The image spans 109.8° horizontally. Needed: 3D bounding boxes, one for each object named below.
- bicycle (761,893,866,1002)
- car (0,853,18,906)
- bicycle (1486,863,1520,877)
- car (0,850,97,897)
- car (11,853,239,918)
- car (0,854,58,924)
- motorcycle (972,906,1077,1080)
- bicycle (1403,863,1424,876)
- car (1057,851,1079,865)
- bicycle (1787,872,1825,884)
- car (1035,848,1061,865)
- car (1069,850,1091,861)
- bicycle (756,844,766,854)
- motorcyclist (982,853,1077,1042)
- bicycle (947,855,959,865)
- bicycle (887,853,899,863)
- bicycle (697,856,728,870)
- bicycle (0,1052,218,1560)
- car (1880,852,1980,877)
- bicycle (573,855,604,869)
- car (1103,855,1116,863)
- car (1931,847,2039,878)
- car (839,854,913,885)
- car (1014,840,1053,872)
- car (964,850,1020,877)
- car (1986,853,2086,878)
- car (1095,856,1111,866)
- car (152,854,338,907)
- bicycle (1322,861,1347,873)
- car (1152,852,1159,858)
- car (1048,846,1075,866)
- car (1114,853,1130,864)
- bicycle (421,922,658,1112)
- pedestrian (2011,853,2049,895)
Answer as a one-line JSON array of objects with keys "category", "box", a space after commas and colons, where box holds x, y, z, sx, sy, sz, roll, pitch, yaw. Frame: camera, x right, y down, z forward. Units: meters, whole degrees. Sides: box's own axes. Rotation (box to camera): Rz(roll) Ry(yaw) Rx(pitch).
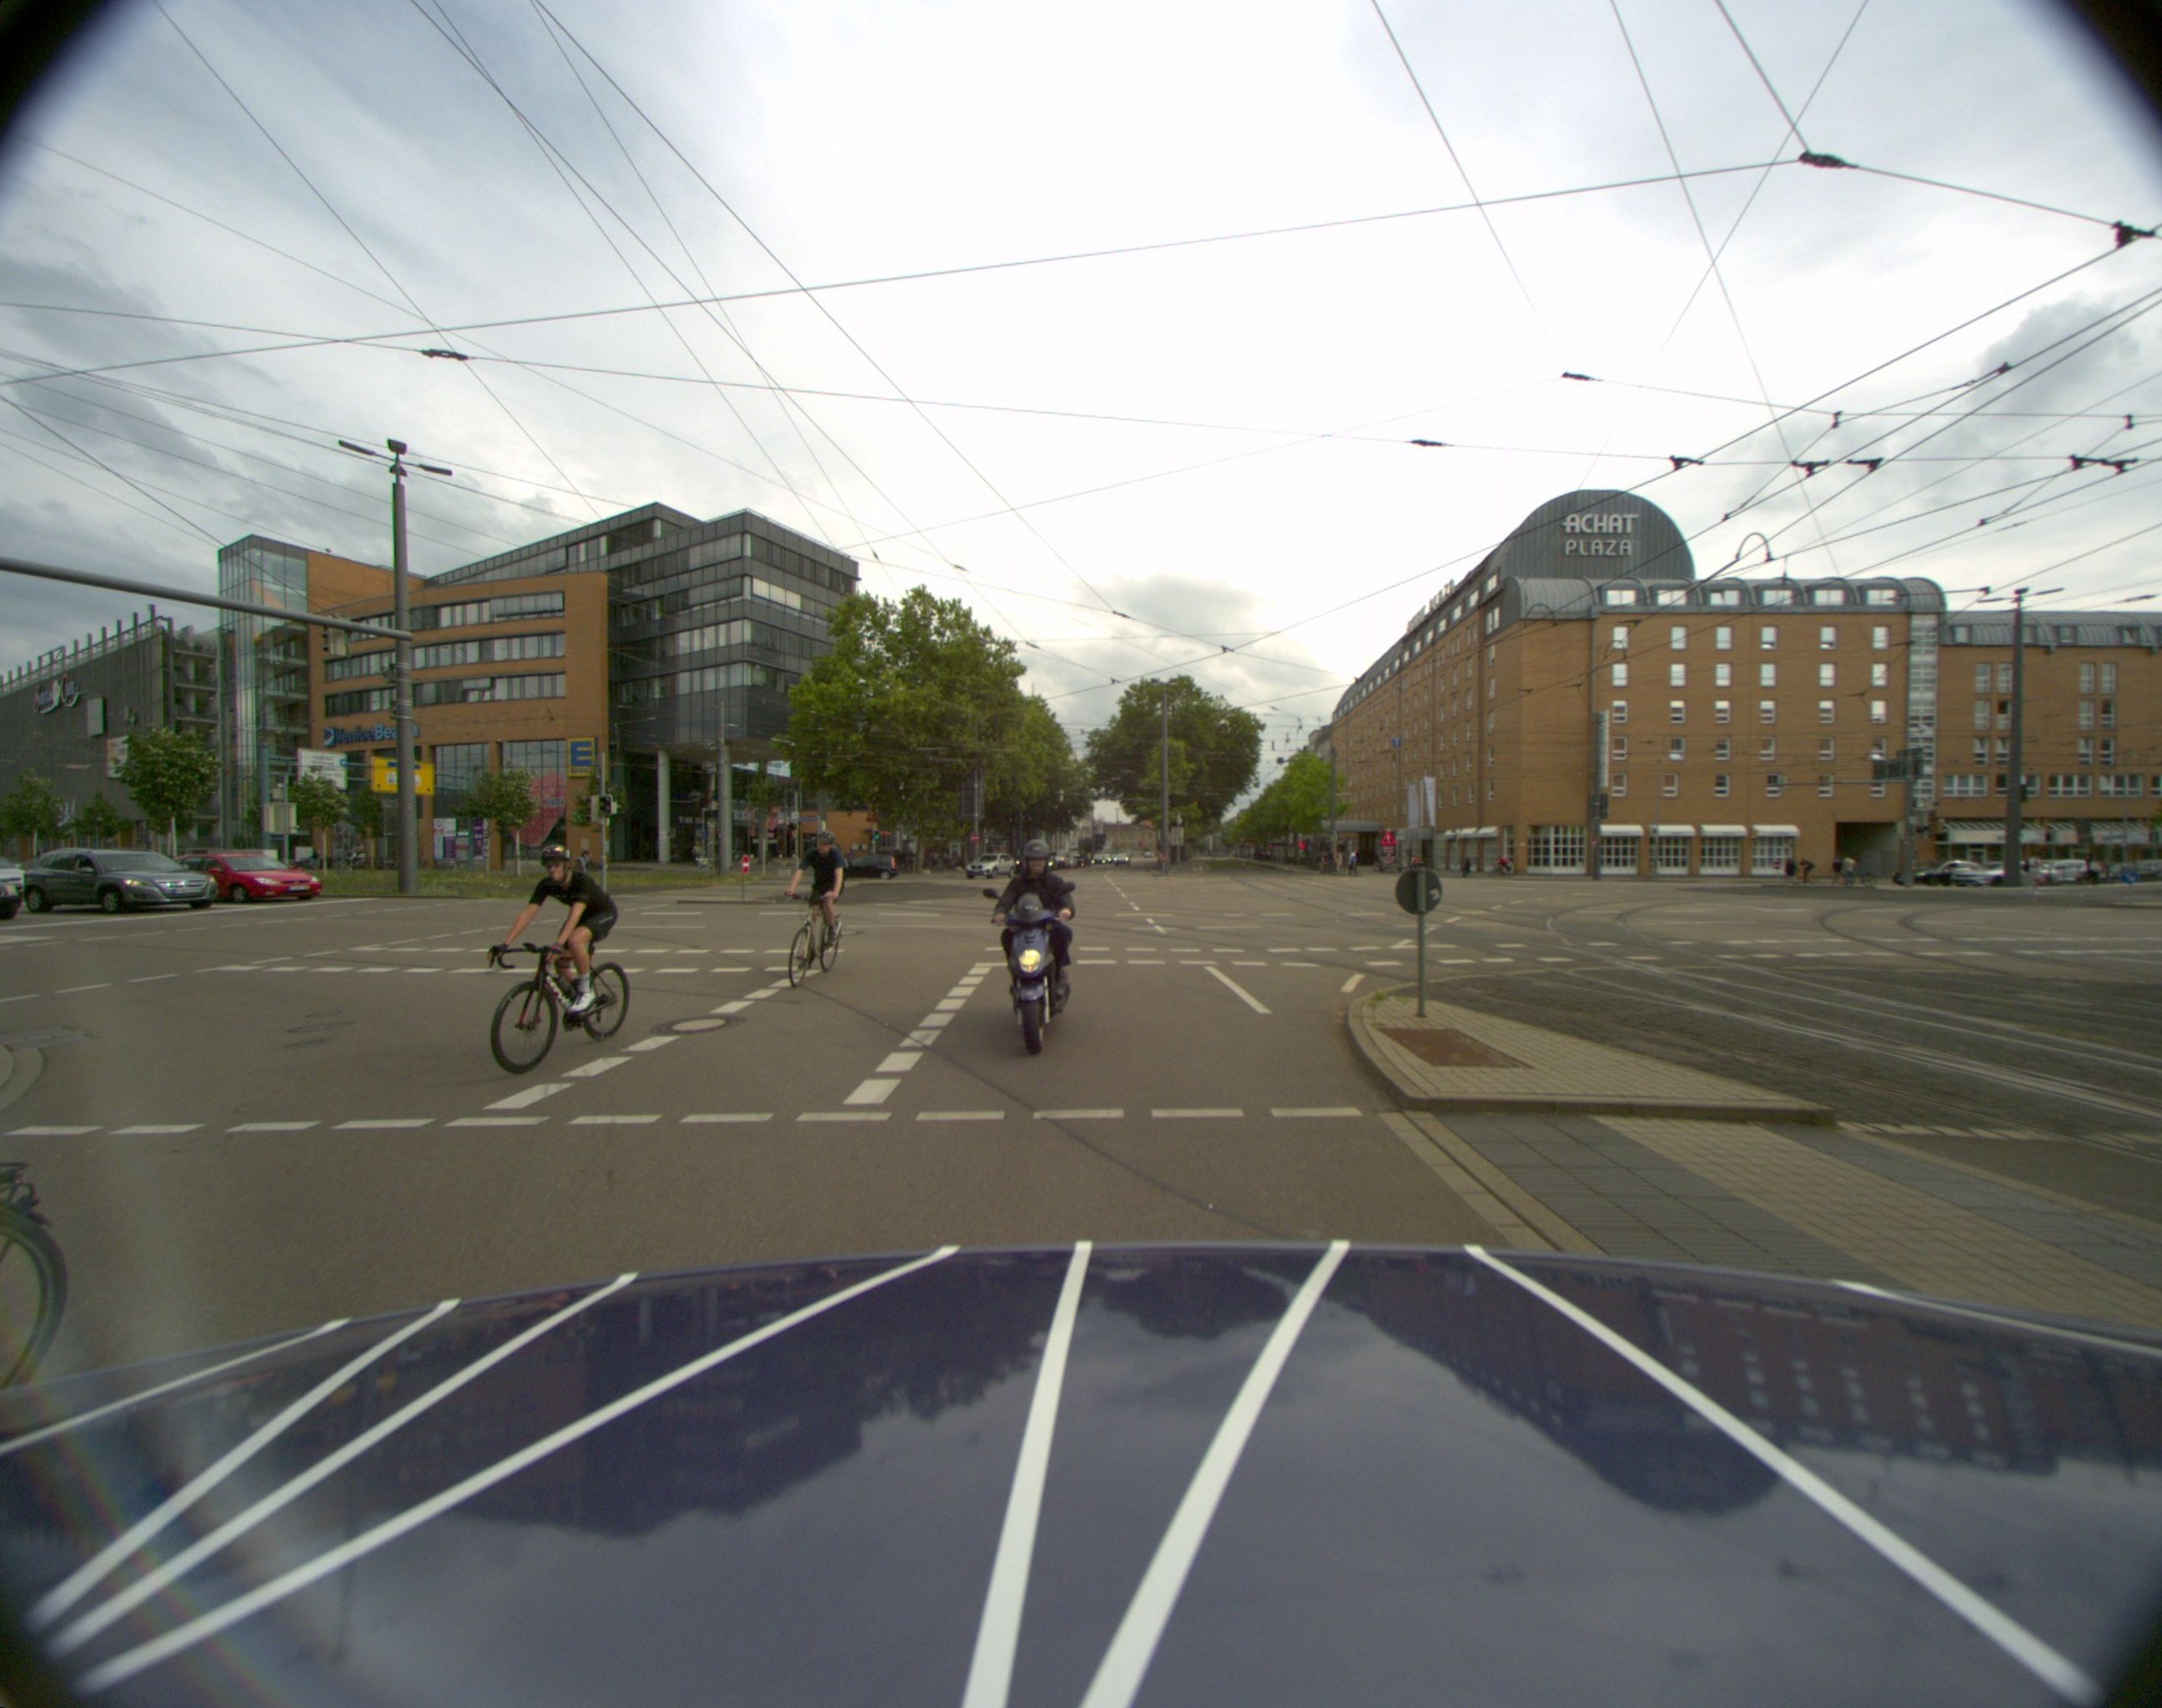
[{"category": "bicycle", "box": [-3.289, 1.103, 9.520, 0.595, 1.132, 1.858, 1, 0, 2]}, {"category": "car", "box": [-32.382, 0.733, 21.031, 3.994, 1.453, 1.824, 0, 2, 10]}, {"category": "bicycle", "box": [30.542, 1.175, 55.037, 2.057, 1.002, 0.640, 0, 1, 9]}, {"category": "car", "box": [-35.928, 0.614, 25.493, 3.994, 1.425, 1.824, 0, 2, 10]}, {"category": "car", "box": [-24.778, 0.764, 19.765, 4.213, 1.524, 1.824, 0, 2, 10]}, {"category": "car", "box": [-26.221, 0.786, 17.319, 3.994, 1.524, 1.824, 0, 1, 10]}, {"category": "motorcycle", "box": [-0.424, 1.105, 6.723, 0.769, 1.101, 2.207, 0, 1, 0]}, {"category": "bicycle", "box": [25.389, 1.186, 58.027, 0.659, 0.931, 1.892, 0, 1, -3]}, {"category": "car", "box": [-1.408, 0.443, 84.874, 1.914, 1.533, 4.094, 1, 0, 7]}, {"category": "bicycle", "box": [46.753, 1.540, 49.010, 1.796, 0.777, 0.640, 0, 1, -1]}, {"category": "car", "box": [-3.071, 0.215, 70.903, 1.756, 1.410, 4.275, 1, 1, 7]}, {"category": "car", "box": [-0.085, 0.130, 93.242, 1.997, 1.270, 4.002, 0, 1, 9]}, {"category": "bicycle", "box": [-29.283, -0.464, 69.462, 0.537, 0.911, 1.559, -1, 2, -35]}, {"category": "motorcyclist", "box": [-0.416, 0.753, 6.633, 0.761, 1.510, 1.017, 0, 1, 0]}, {"category": "bicycle", "box": [-12.035, 0.581, 71.413, 0.535, 0.911, 1.724, 1, 1, 12]}, {"category": "bicycle", "box": [-18.321, 0.374, 73.990, 0.535, 0.911, 1.542, 1, 1, 12]}, {"category": "bicycle", "box": [-26.697, 0.654, 55.071, 2.002, 1.005, 0.638, 1, 1, 9]}, {"category": "bicycle", "box": [-2.995, 1.186, 1.303, 0.595, 1.132, 2.091, 1, 0, 2]}, {"category": "car", "box": [50.794, 0.604, 45.494, 3.997, 1.470, 1.800, 0, 1, -1]}, {"category": "bicycle", "box": [-36.344, 0.615, 56.067, 2.002, 1.005, 0.638, 0, 1, 9]}, {"category": "car", "box": [4.444, 0.766, 118.230, 1.574, 1.270, 3.734, 0, 1, 9]}, {"category": "car", "box": [51.158, 0.463, 43.038, 3.997, 1.674, 1.800, 0, 1, -1]}, {"category": "car", "box": [-12.280, 0.909, 45.705, 4.181, 1.728, 1.963, 0, 1, -12]}, {"category": "car", "box": [-3.861, 0.118, 62.919, 2.174, 2.441, 6.999, 0, 1, 5]}, {"category": "car", "box": [-5.804, 0.605, 50.187, 1.961, 1.651, 4.644, -1, 1, 17]}, {"category": "car", "box": [57.735, 0.669, 45.981, 3.997, 1.434, 1.702, 0, 1, -1]}, {"category": "car", "box": [3.164, 0.980, 108.598, 1.711, 1.270, 4.002, 0, 1, 9]}, {"category": "car", "box": [-24.948, 0.743, 22.745, 3.994, 1.425, 1.824, 0, 2, 10]}, {"category": "bicycle", "box": [19.140, 0.949, 57.443, 1.710, 0.884, 0.499, 0, 2, 5]}, {"category": "car", "box": [22.505, 0.231, 228.984, 1.668, 1.699, 3.999, 0, 1, 0]}, {"category": "car", "box": [-2.003, 0.165, 78.432, 1.997, 2.002, 5.439, 1, 0, 7]}, {"category": "car", "box": [5.226, 0.552, 97.071, 1.845, 1.369, 3.835, 0, -1, 6]}, {"category": "bicycle", "box": [-4.170, 1.188, 6.043, 0.595, 1.132, 1.734, 1, 0, 2]}, {"category": "pedestrian", "box": [39.510, 0.838, 31.655, 0.578, 1.722, 0.751, 0, 2, 0]}]
